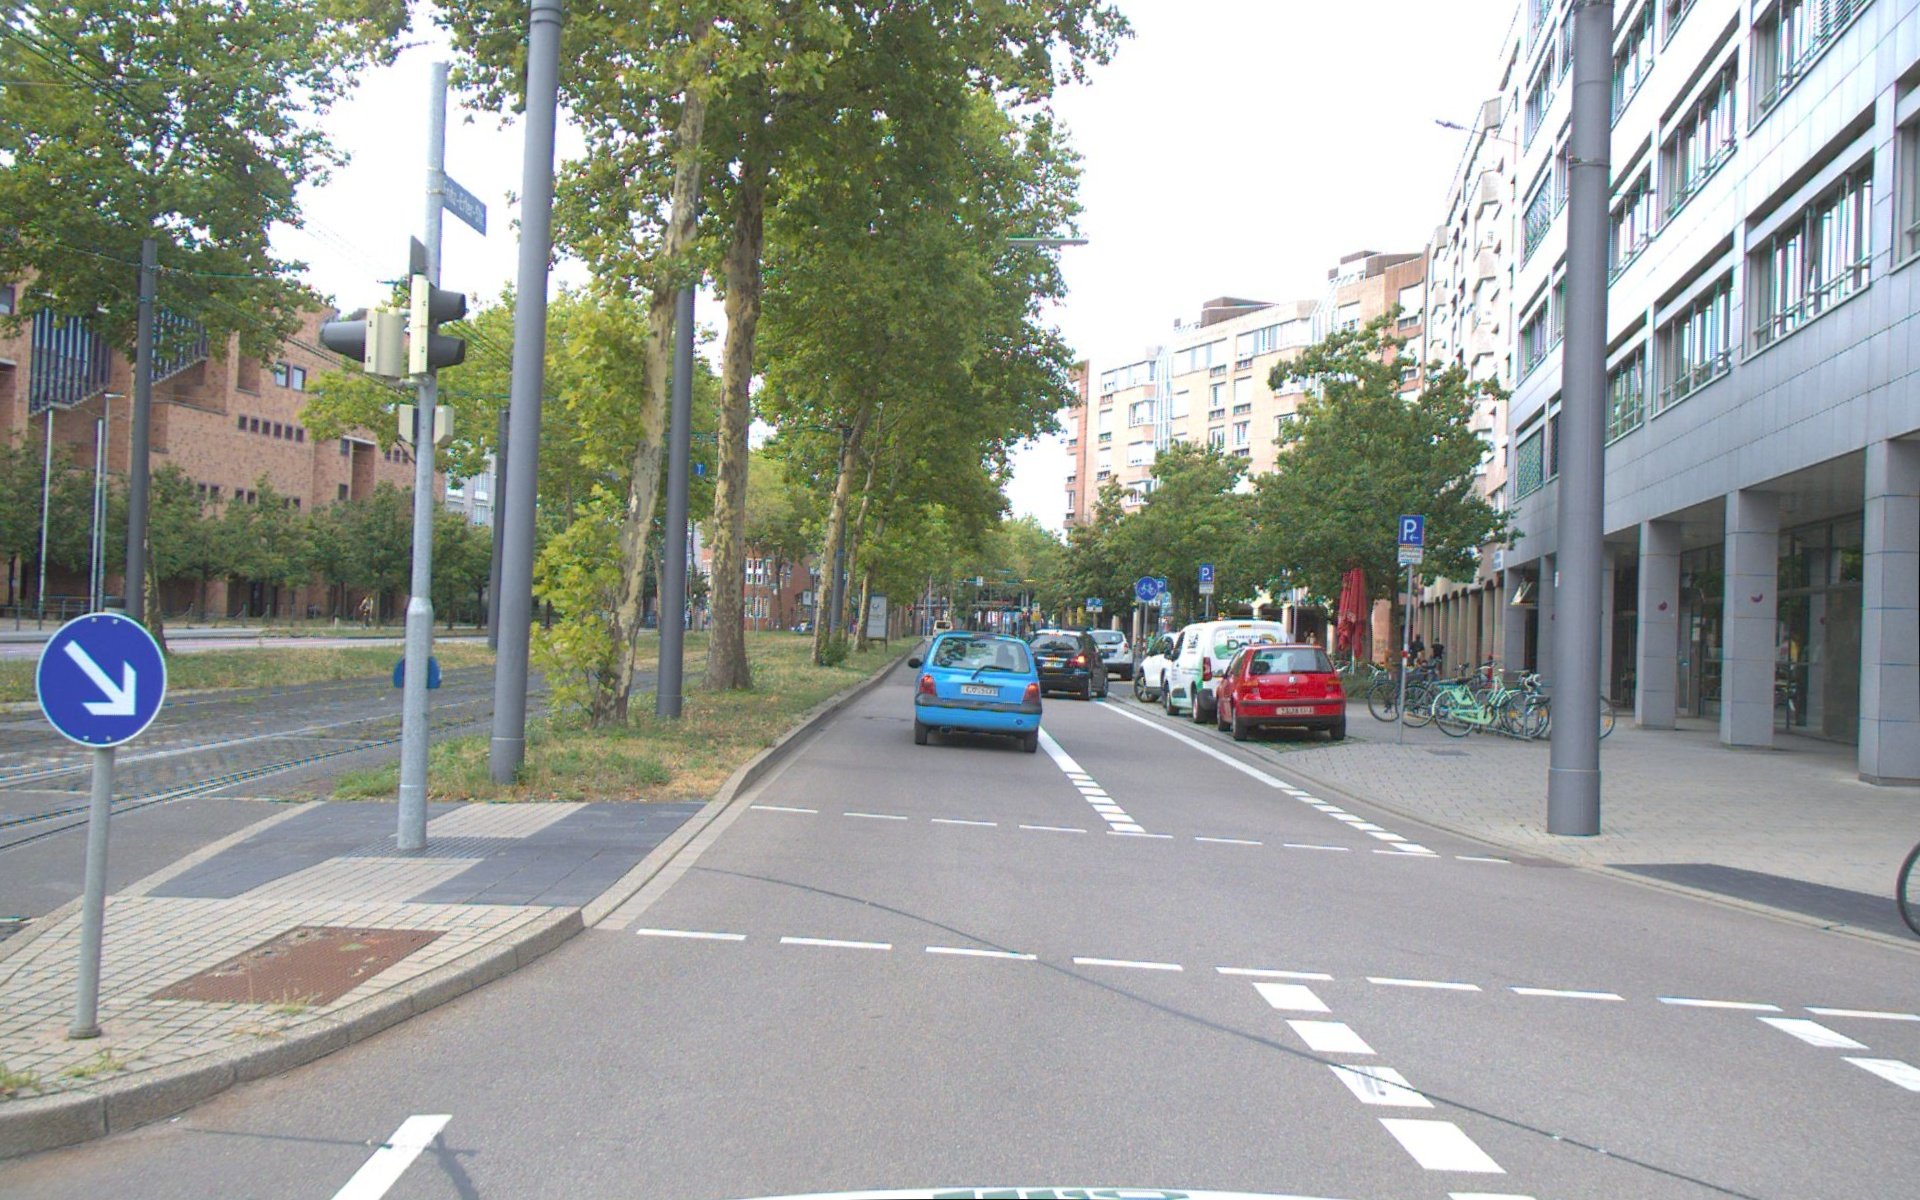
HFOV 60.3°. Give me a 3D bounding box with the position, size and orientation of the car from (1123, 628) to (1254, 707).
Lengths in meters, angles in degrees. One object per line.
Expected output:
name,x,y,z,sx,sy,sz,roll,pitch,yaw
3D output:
car,5.143,1.487,37.872,1.956,1.631,4.577,0,-1,-5

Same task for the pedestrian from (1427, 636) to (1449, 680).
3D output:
pedestrian,17.868,2.158,61.812,0.695,1.583,0.799,1,-1,13

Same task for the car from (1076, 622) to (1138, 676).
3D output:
car,4.840,1.611,54.850,1.822,1.682,4.164,1,-1,3

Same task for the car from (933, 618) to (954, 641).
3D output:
car,-1.509,2.737,153.466,1.892,1.959,4.955,2,-1,0

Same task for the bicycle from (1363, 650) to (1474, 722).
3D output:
bicycle,8.316,1.549,30.063,1.868,1.218,0.480,2,-1,7

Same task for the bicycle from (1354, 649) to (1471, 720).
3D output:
bicycle,8.352,1.563,30.597,2.011,1.218,0.480,2,-1,7

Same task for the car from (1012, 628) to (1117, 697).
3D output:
car,2.632,1.495,40.738,1.737,1.604,4.307,0,-1,15

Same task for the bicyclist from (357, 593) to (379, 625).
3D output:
bicyclist,-30.141,0.465,84.242,0.650,1.618,0.984,2,-1,2

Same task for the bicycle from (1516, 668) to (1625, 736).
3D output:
bicycle,9.366,1.562,25.374,1.527,1.004,0.422,1,-1,-5

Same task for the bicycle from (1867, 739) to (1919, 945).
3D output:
bicycle,6.507,1.467,9.806,1.859,1.159,0.727,1,-1,17

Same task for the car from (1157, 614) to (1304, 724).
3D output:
car,4.973,1.225,31.046,1.790,1.897,4.645,0,-1,-3

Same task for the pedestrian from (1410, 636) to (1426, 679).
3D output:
pedestrian,17.162,2.141,62.007,0.501,1.583,0.473,1,-1,13

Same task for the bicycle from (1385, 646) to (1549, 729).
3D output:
bicycle,8.643,1.486,28.238,2.579,1.280,0.655,2,-1,0

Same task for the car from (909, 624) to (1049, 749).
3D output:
car,0.234,1.065,21.650,1.607,1.410,3.842,3,-1,0

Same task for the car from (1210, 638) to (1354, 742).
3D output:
car,4.993,1.359,26.133,1.686,1.458,4.255,0,-1,4

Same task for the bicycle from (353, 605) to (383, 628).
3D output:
bicycle,-30.152,0.843,84.251,0.654,1.103,2.094,2,-1,3

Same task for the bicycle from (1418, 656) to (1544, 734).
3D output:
bicycle,8.115,1.479,25.777,1.814,1.159,0.492,1,-1,-7
